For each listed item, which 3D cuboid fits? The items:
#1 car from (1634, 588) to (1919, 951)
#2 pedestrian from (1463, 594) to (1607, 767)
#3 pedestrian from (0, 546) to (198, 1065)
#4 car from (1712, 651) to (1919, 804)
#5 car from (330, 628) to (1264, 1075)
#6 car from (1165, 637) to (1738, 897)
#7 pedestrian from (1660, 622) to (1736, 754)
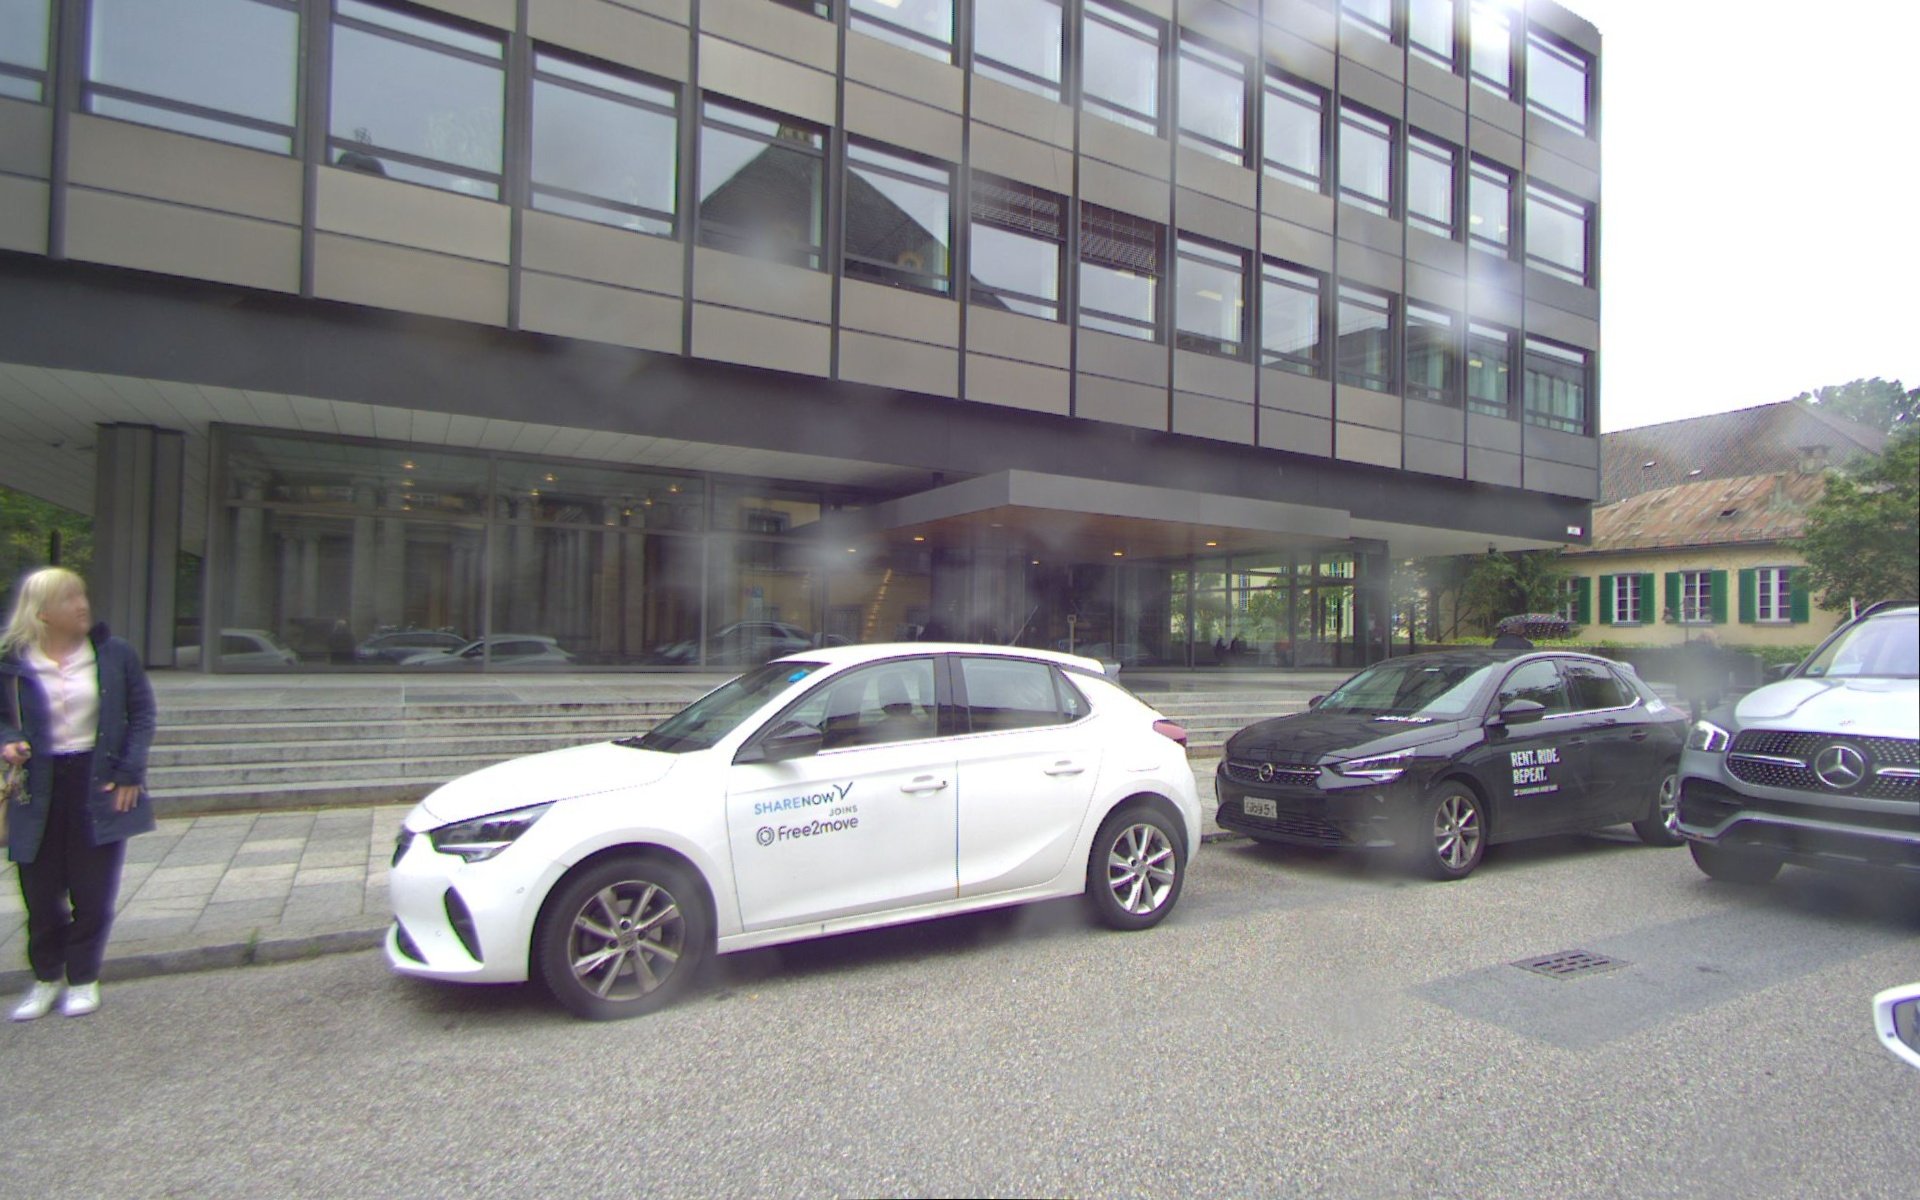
[{"bbox_3d":[6.439,0.875,6.083,4.620,1.711,2.017,2,-3,-29],"label":"car"},{"bbox_3d":[7.365,0.983,12.894,1.207,2.082,1.130,2,-1,-30],"label":"pedestrian"},{"bbox_3d":[-3.488,0.729,3.867,0.681,1.774,0.887,1,-4,-27],"label":"pedestrian"},{"bbox_3d":[10.875,1.359,11.530,4.863,1.458,1.913,3,-5,-32],"label":"car"},{"bbox_3d":[-0.618,0.955,5.103,4.228,1.458,1.675,2,-5,-29],"label":"car"},{"bbox_3d":[3.731,1.073,7.517,4.184,1.480,1.733,2,-4,-29],"label":"car"},{"bbox_3d":[10.445,1.216,14.212,0.745,1.772,0.947,-1,-2,45],"label":"pedestrian"}]
